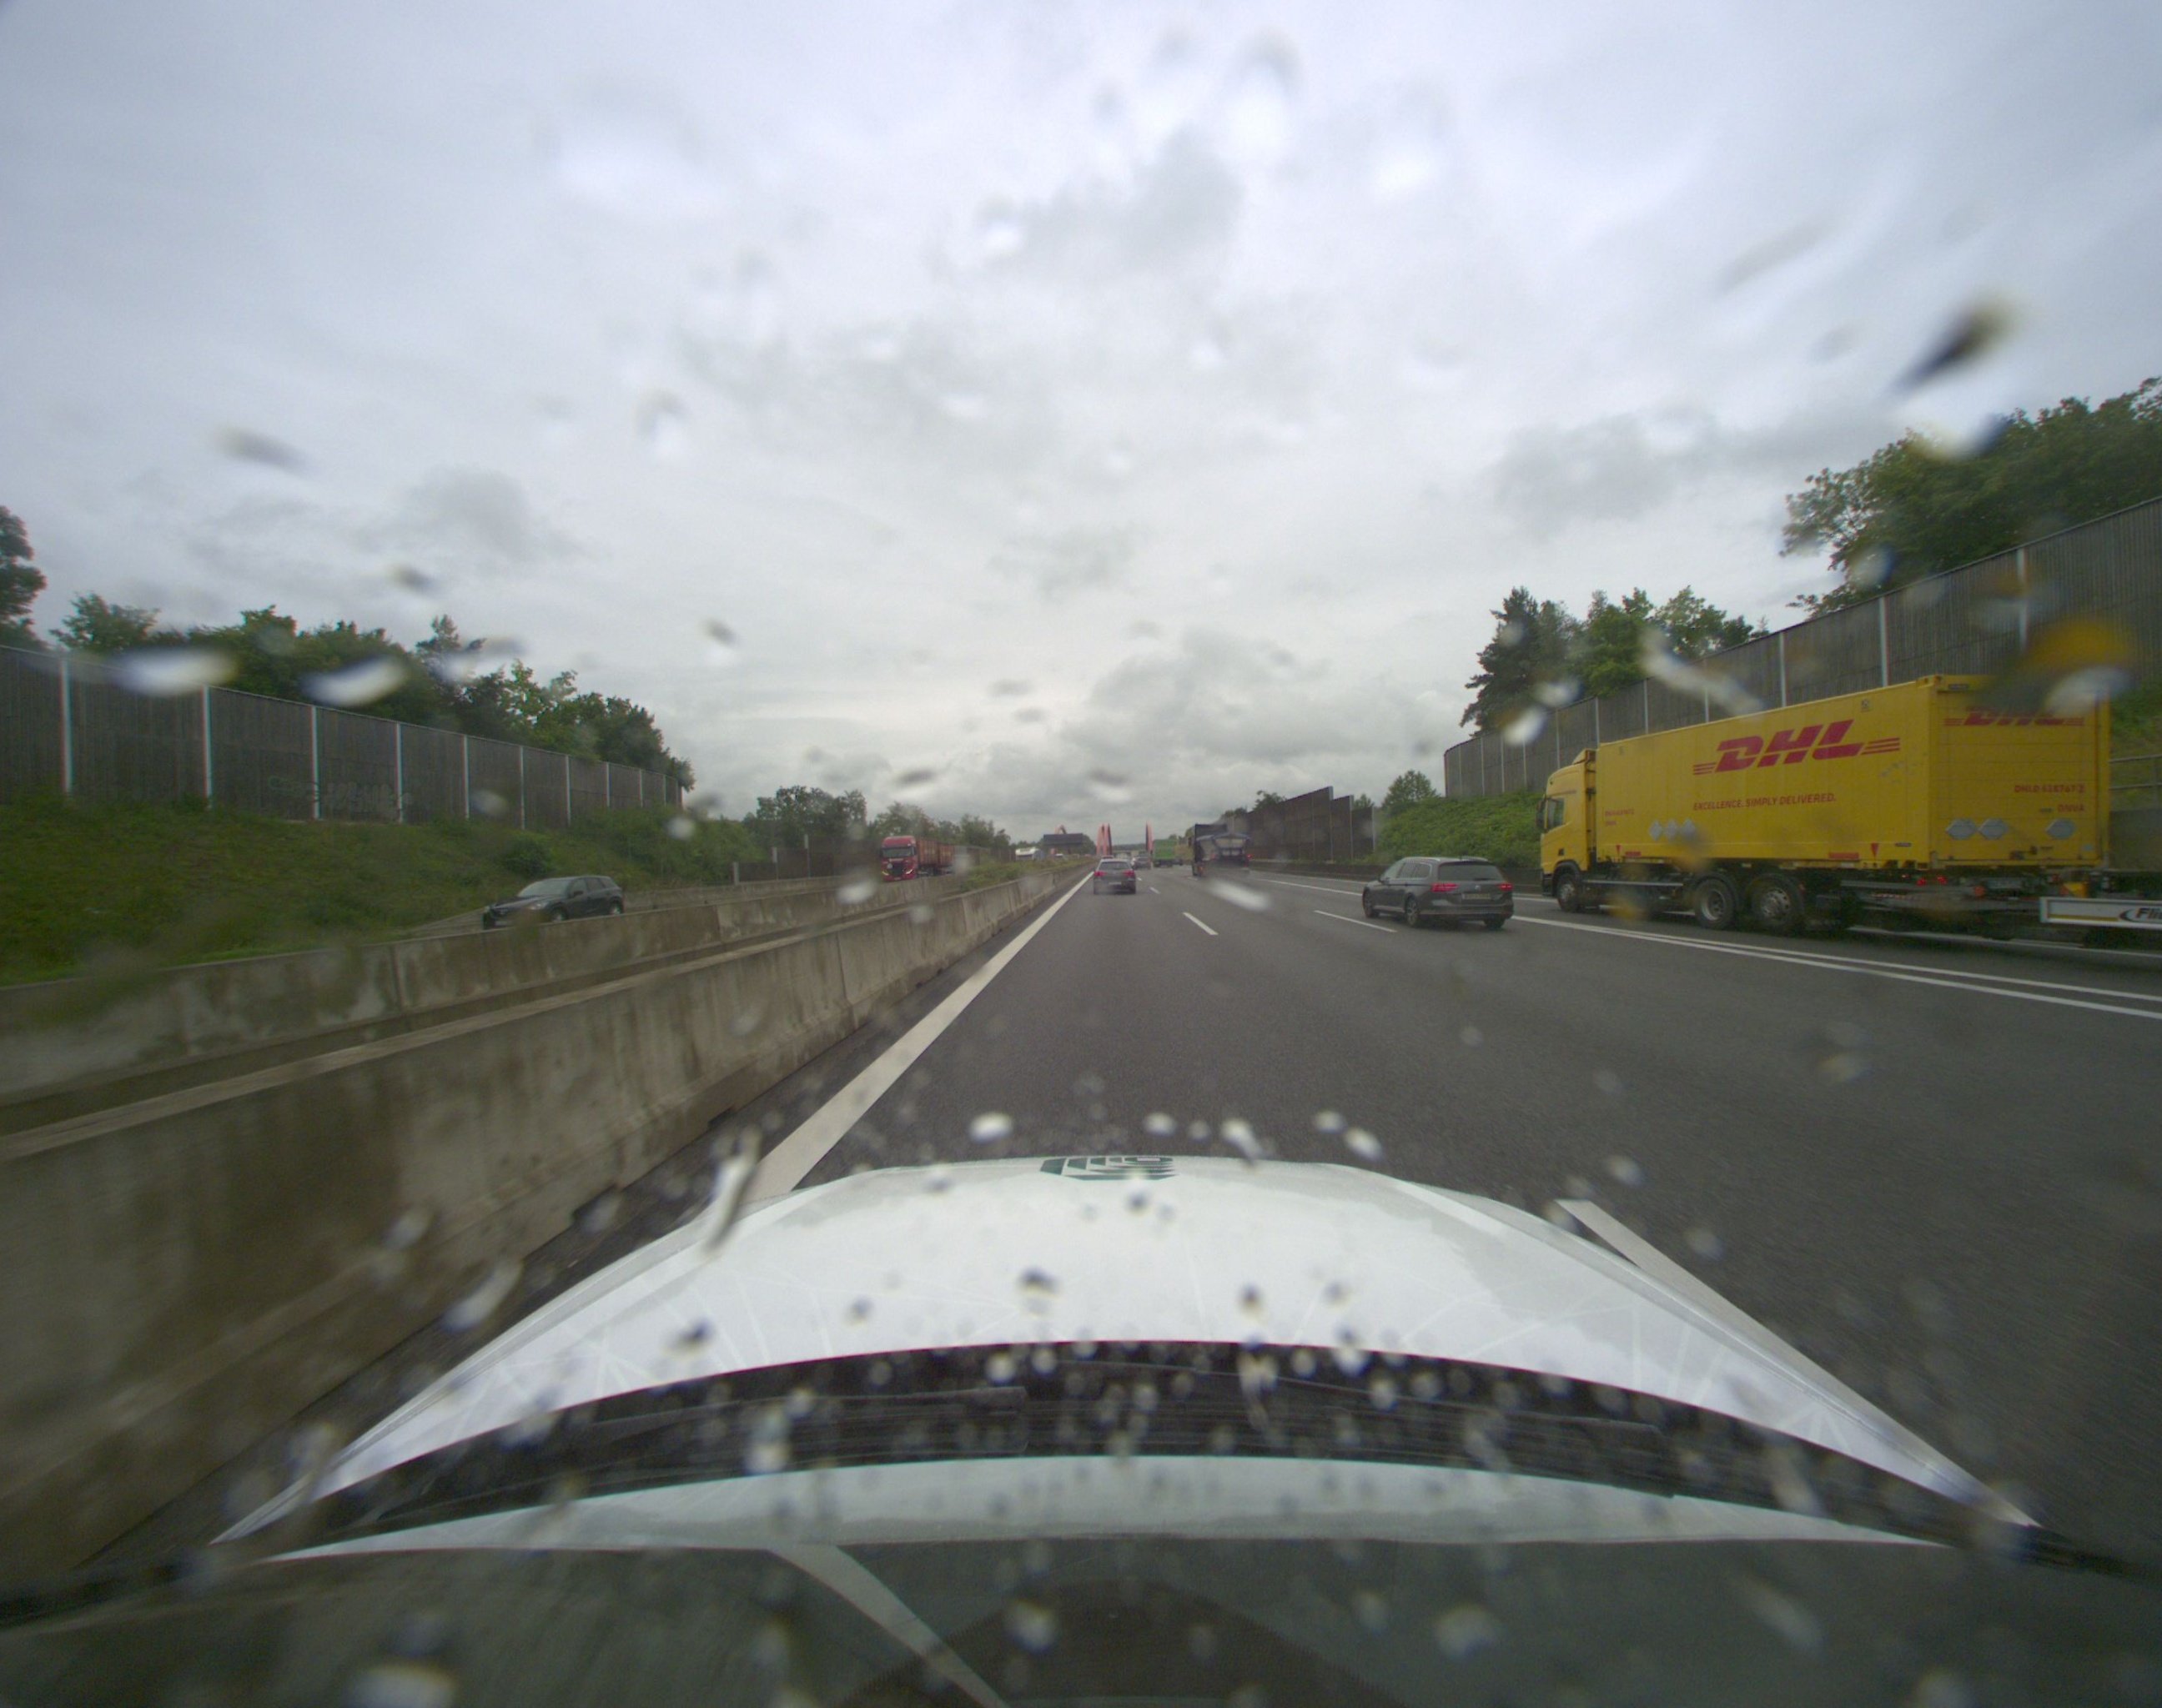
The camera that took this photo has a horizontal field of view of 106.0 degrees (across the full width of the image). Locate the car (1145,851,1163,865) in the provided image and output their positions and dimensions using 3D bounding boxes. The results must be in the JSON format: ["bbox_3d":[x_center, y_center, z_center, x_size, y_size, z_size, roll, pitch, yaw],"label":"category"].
[{"bbox_3d":[9.717,0.583,108.569,1.986,1.750,4.001,-2,0,1],"label":"car"}]

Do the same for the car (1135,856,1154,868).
[{"bbox_3d":[7.036,0.870,90.230,1.985,1.354,4.003,-1,0,3],"label":"car"}]

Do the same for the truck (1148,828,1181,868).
[{"bbox_3d":[11.480,-0.713,113.299,3.981,5.266,11.228,0,-1,3],"label":"truck"}]

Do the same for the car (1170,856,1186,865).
[{"bbox_3d":[15.180,0.966,127.637,1.986,1.354,4.002,-2,0,2],"label":"car"}]

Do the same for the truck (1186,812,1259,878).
[{"bbox_3d":[9.545,-0.503,56.677,3.078,3.950,12.949,-2,-1,2],"label":"truck"}]

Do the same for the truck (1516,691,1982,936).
[{"bbox_3d":[13.285,-0.626,17.841,2.676,3.958,9.327,0,-1,1],"label":"truck"}]

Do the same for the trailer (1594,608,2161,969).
[{"bbox_3d":[13.184,-0.706,10.716,2.641,3.953,16.688,0,0,1],"label":"trailer"}]

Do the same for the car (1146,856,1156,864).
[{"bbox_3d":[15.572,1.329,181.843,1.949,1.647,4.002,0,-1,2],"label":"car"}]

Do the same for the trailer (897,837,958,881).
[{"bbox_3d":[-13.963,0.445,75.229,2.716,3.683,12.569,-2,0,2],"label":"trailer"}]

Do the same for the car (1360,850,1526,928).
[{"bbox_3d":[7.520,0.670,17.438,1.657,1.456,4.471,0,0,1],"label":"car"}]

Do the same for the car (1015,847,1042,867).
[{"bbox_3d":[-6.089,0.347,95.209,2.365,2.193,7.727,-2,-1,2],"label":"car"}]

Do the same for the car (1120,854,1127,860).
[{"bbox_3d":[12.551,0.946,240.547,1.985,1.815,4.003,-1,0,3],"label":"car"}]

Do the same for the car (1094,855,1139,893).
[{"bbox_3d":[1.440,0.806,33.854,1.757,1.453,4.001,-1,0,1],"label":"car"}]

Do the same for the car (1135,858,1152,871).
[{"bbox_3d":[7.020,1.172,91.535,1.775,1.406,3.628,-1,0,2],"label":"car"}]

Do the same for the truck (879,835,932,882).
[{"bbox_3d":[-14.338,0.380,67.117,2.686,3.707,6.484,0,-1,2],"label":"truck"}]

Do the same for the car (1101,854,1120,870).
[{"bbox_3d":[3.111,0.829,86.588,1.986,1.585,4.002,-2,0,2],"label":"car"}]

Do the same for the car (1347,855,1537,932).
[{"bbox_3d":[7.594,0.737,17.828,1.933,1.427,5.290,0,0,1],"label":"car"}]

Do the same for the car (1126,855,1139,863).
[{"bbox_3d":[8.867,0.902,140.671,1.986,1.354,4.001,-2,0,1],"label":"car"}]

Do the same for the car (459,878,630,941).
[{"bbox_3d":[-15.871,1.581,24.440,1.986,1.537,4.483,-2,0,2],"label":"car"}]
